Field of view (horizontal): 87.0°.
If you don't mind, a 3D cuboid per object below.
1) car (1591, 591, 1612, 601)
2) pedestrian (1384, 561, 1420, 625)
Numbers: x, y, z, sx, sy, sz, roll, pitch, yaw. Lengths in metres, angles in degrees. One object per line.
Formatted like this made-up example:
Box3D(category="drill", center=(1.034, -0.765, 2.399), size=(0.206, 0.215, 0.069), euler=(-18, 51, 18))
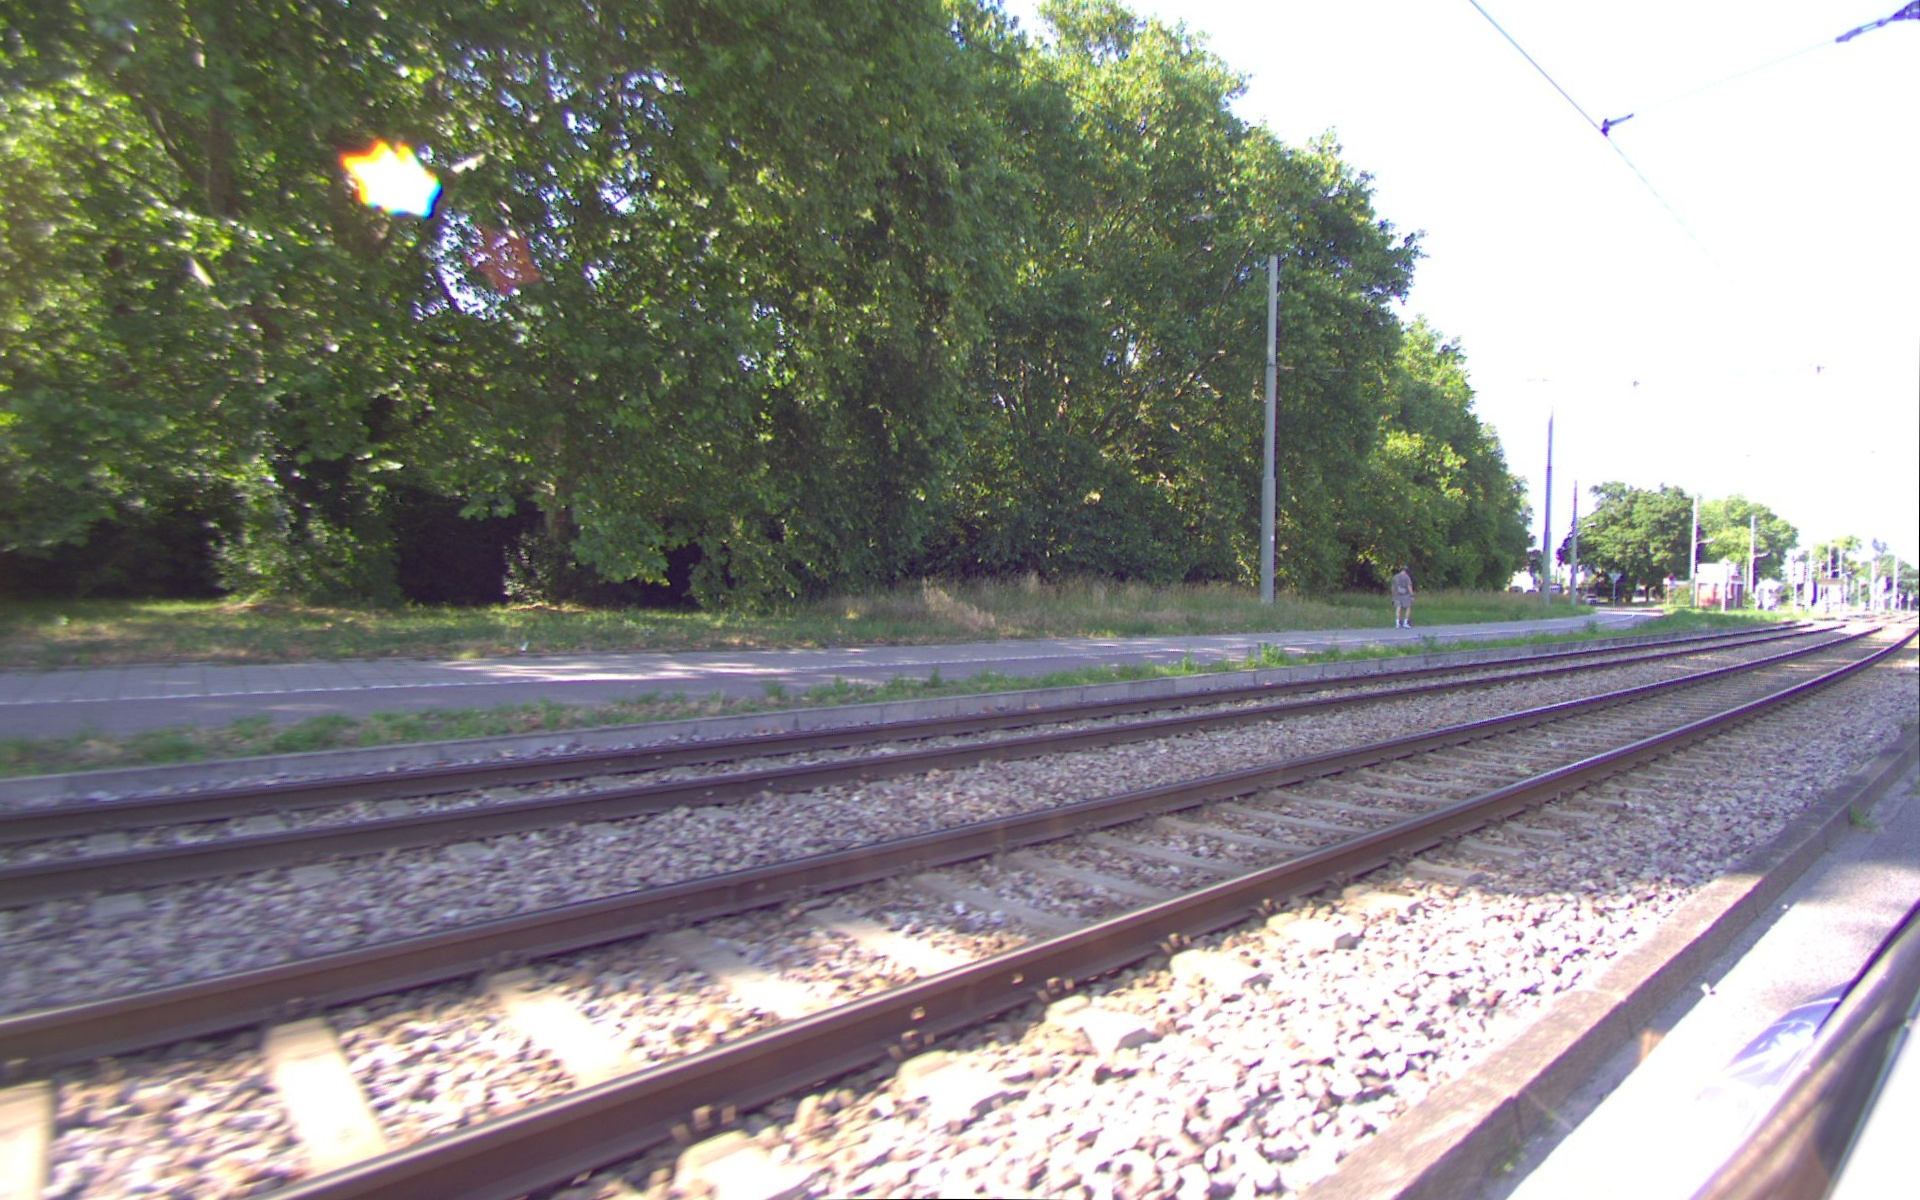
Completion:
Box3D(category="car", center=(91.279, -0.582, 144.064), size=(1.785, 1.409, 3.760), euler=(2, 2, 20))
Box3D(category="pedestrian", center=(12.267, -0.203, 28.075), size=(0.869, 1.737, 0.502), euler=(1, 1, -36))
